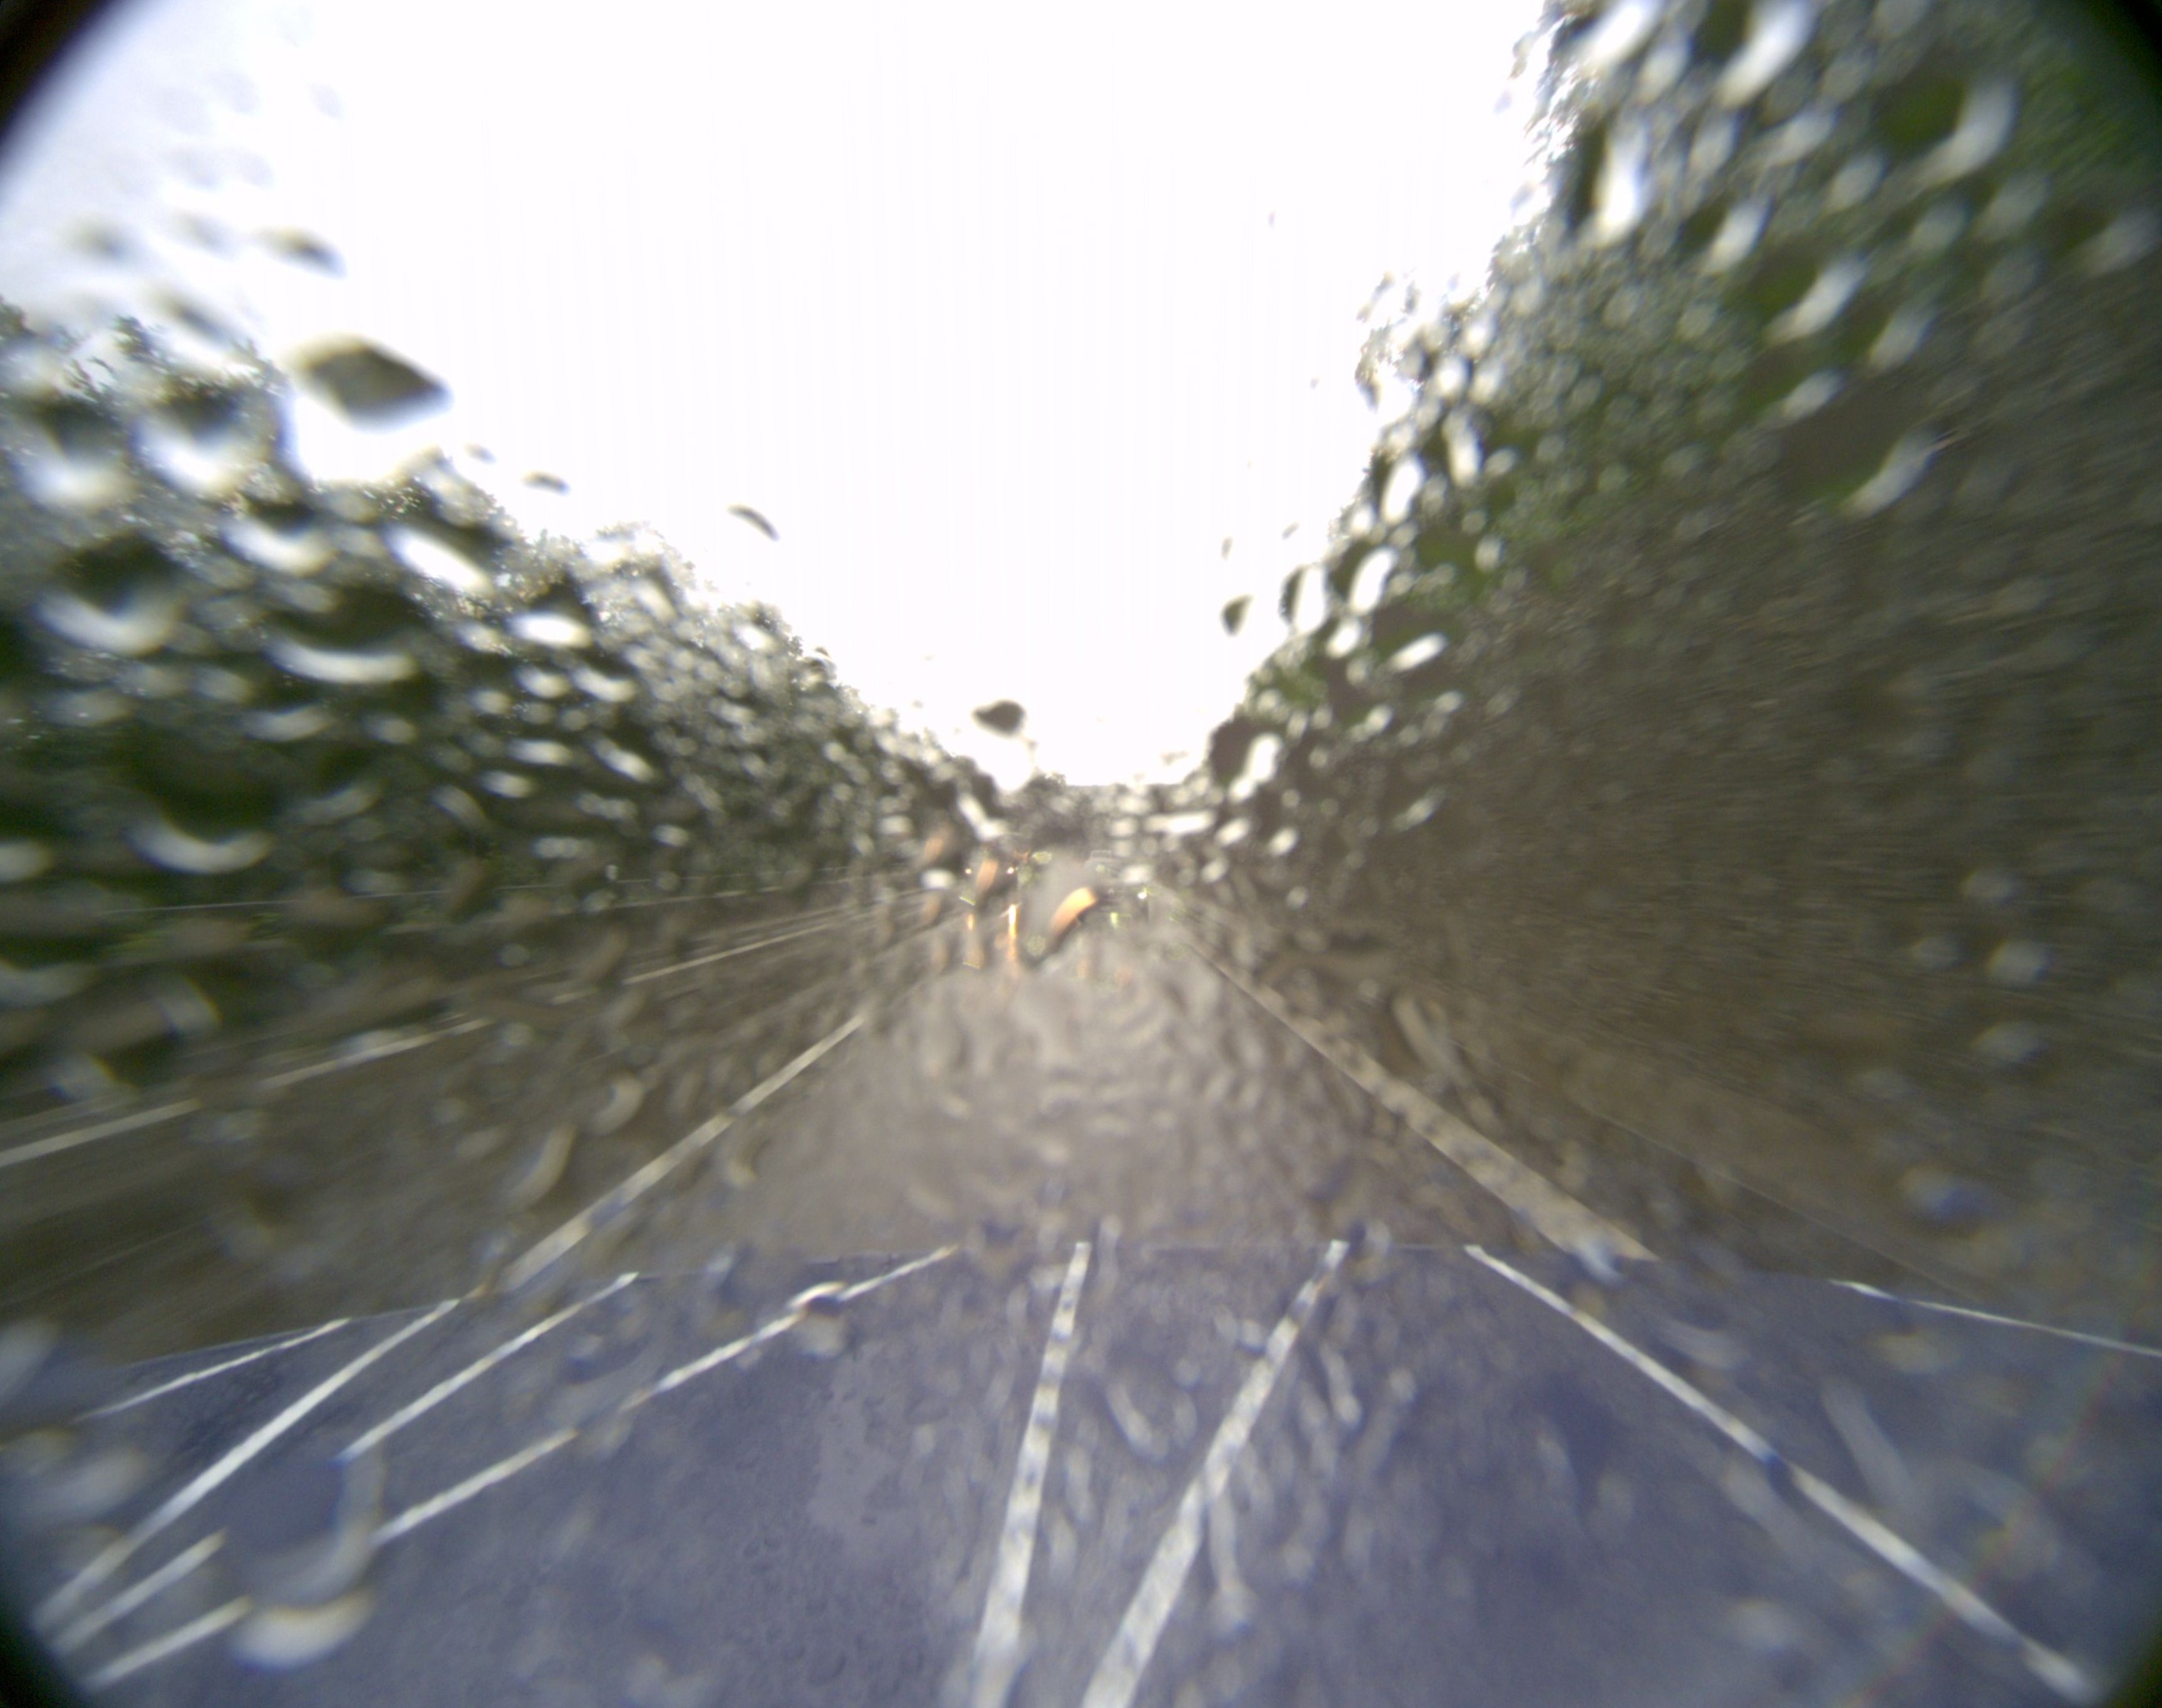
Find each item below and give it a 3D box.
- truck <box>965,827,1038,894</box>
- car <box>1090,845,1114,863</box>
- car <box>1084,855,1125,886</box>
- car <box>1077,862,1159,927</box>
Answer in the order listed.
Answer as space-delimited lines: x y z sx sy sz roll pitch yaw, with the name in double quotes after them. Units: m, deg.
-3.262 0.220 32.885 2.108 2.481 8.002 -2 0 1 "truck"
1.727 -0.005 60.644 1.827 1.375 4.000 -1 0 2 "car"
1.133 0.770 37.175 1.827 1.375 4.000 -1 0 1 "car"
0.925 0.937 19.171 1.827 1.375 4.000 -1 0 2 "car"
